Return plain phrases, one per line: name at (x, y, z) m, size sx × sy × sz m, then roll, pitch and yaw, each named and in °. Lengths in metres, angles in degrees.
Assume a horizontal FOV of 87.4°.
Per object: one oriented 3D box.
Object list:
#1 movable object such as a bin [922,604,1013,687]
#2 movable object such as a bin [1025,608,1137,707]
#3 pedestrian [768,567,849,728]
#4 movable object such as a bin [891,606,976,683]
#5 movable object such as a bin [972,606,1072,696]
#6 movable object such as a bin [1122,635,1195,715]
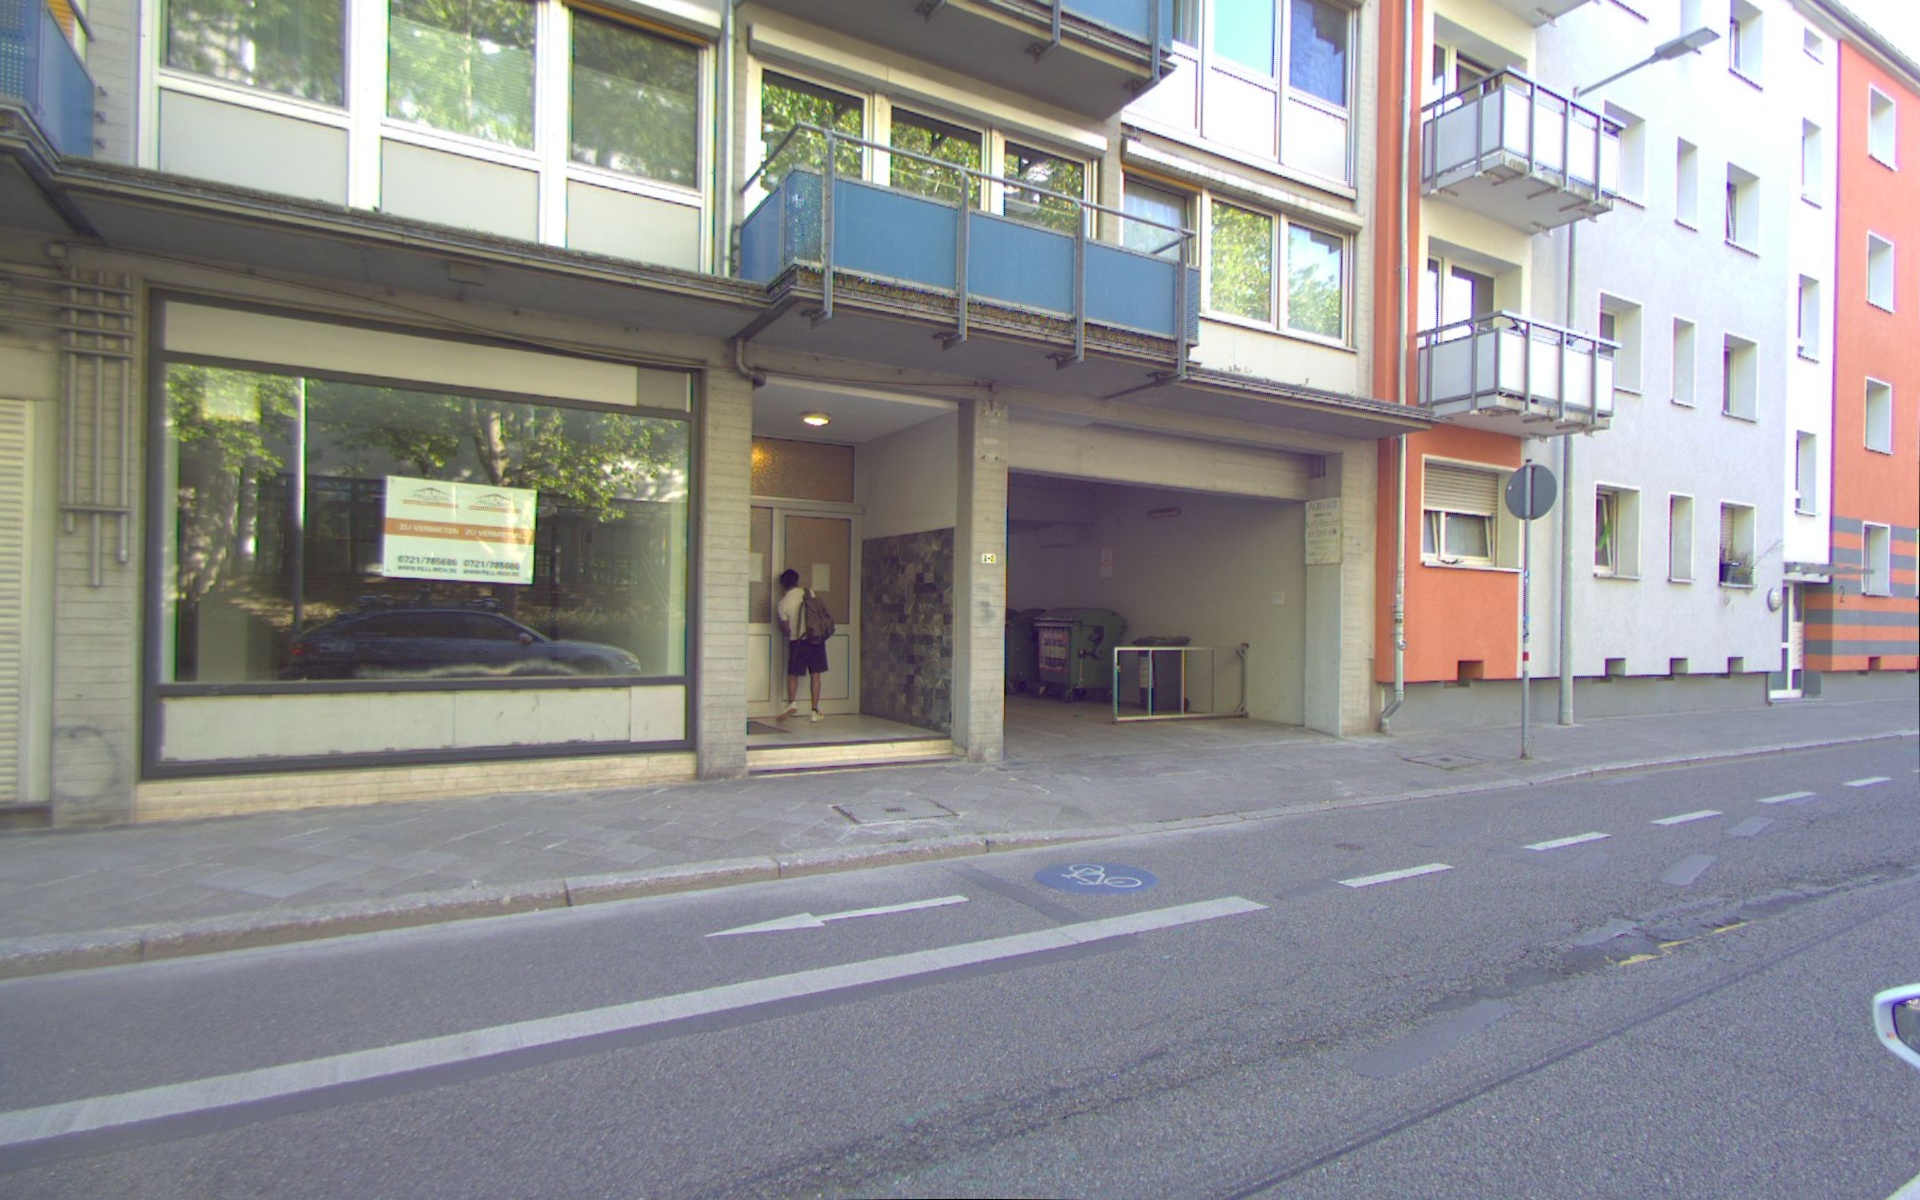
movable object such as a bin at (0.135, 0.832, 18.767) m, size 1.182 × 1.452 × 1.300 m, roll 2°, pitch 0°, yaw -30°
movable object such as a bin at (1.888, 0.870, 15.805) m, size 1.182 × 1.452 × 1.300 m, roll 2°, pitch 0°, yaw -30°
pedestrian at (-1.600, 0.478, 10.561) m, size 0.558 × 1.606 × 0.919 m, roll 1°, pitch 0°, yaw -28°
movable object such as a bin at (-0.533, 0.863, 19.931) m, size 1.182 × 1.452 × 1.300 m, roll 2°, pitch 0°, yaw -30°
movable object such as a bin at (1.048, 0.852, 17.192) m, size 1.182 × 1.452 × 1.300 m, roll 2°, pitch 0°, yaw -30°
movable object such as a bin at (2.866, 1.064, 14.523) m, size 0.707 × 1.089 × 0.735 m, roll 2°, pitch 0°, yaw -30°
